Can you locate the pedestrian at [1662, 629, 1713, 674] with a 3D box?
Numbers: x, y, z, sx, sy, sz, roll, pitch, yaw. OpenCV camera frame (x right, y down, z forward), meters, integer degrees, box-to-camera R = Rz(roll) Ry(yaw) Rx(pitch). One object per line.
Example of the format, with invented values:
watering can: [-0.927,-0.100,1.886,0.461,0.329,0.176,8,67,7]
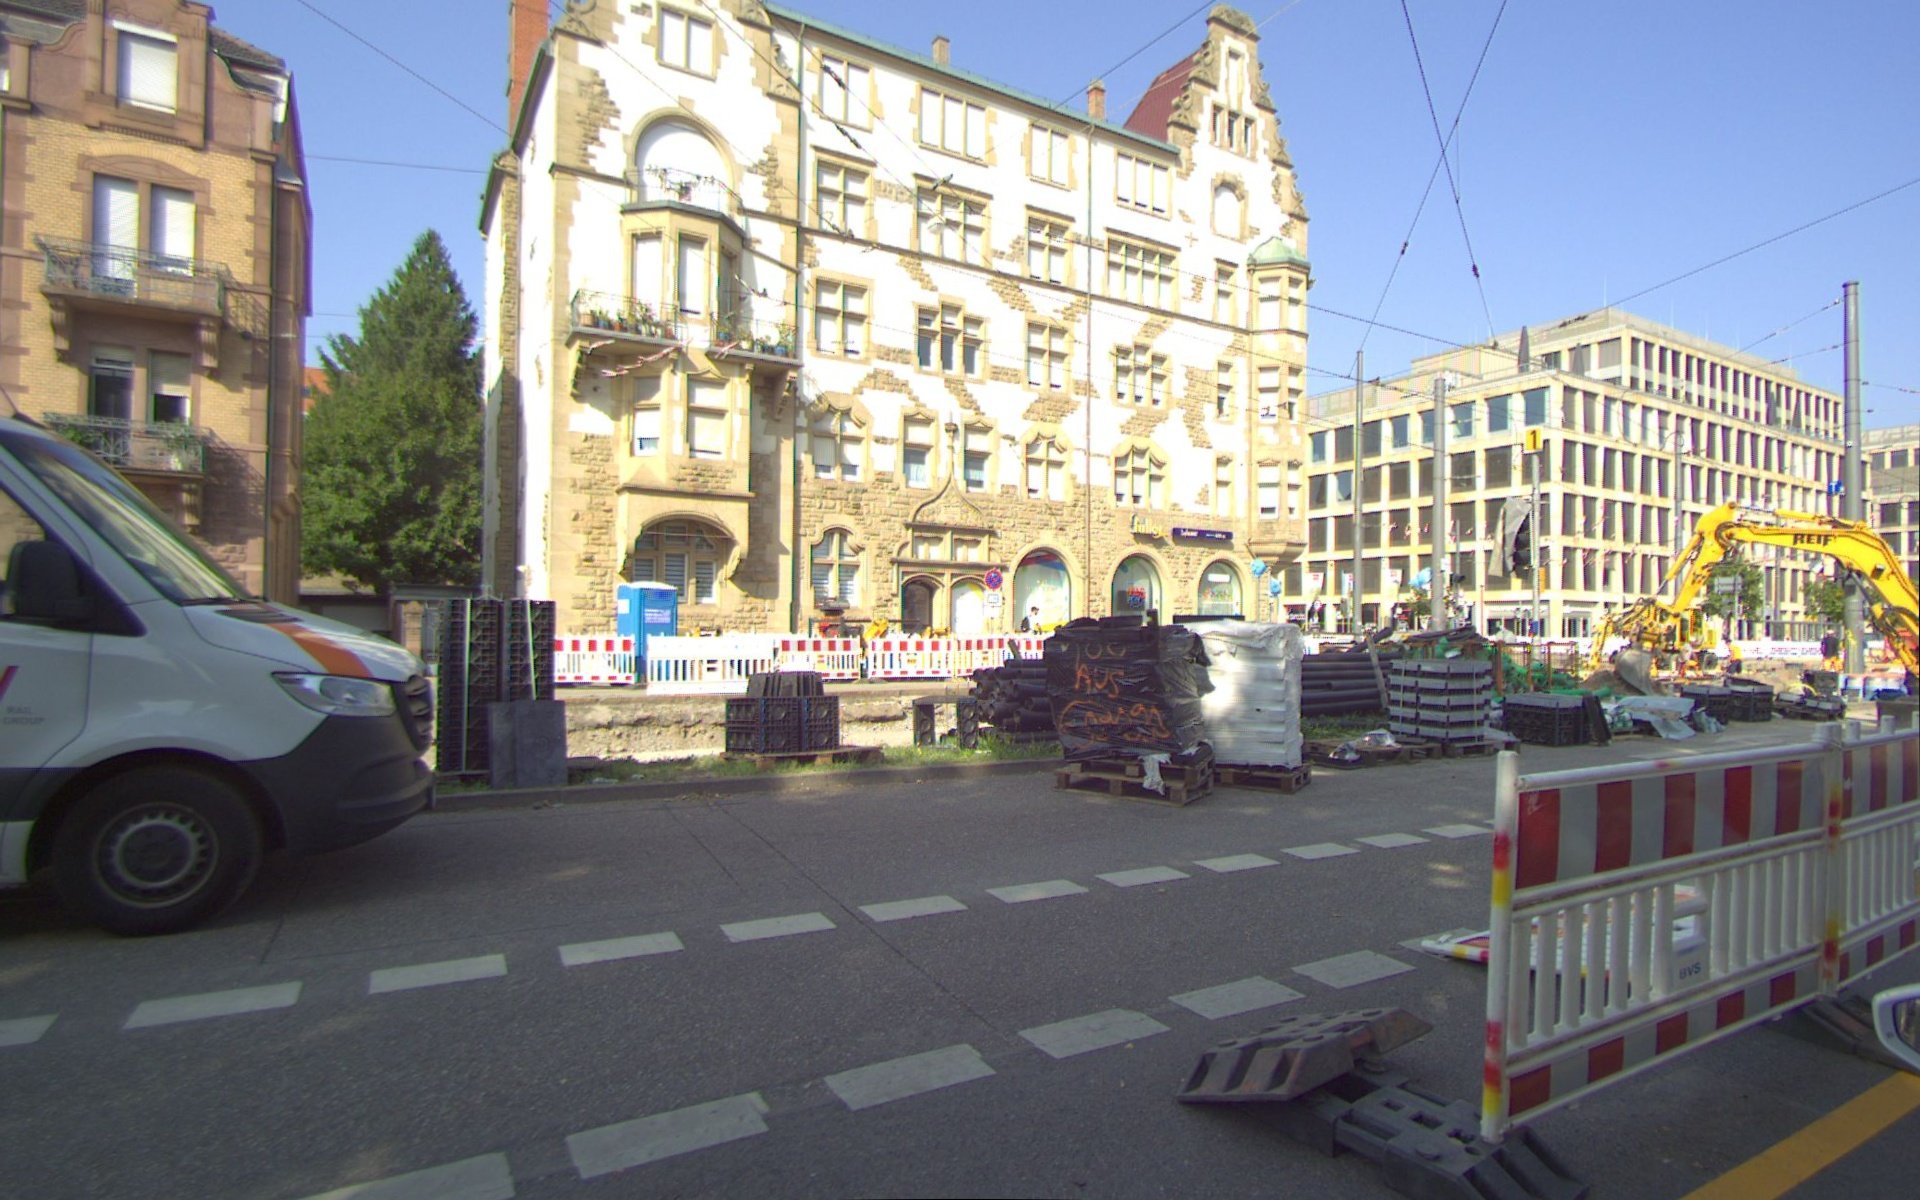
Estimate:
pedestrian: [24.564,1.736,33.928,0.907,1.461,1.137,2,-2,-30]

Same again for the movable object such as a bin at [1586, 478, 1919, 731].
movable object such as a bin: [12.948,0.092,14.817,6.071,3.390,2.107,0,-2,40]

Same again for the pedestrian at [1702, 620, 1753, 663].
pedestrian: [26.829,1.450,35.128,1.008,1.461,1.137,2,-2,-30]

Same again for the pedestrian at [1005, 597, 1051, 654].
pedestrian: [2.142,0.820,31.805,1.133,1.764,0.910,2,-2,-31]

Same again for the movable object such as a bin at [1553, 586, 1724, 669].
movable object such as a bin: [29.707,1.256,43.857,8.246,3.373,2.834,2,-2,-30]

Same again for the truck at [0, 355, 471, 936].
truck: [-5.849,0.159,3.937,6.964,2.251,2.149,2,-2,-29]

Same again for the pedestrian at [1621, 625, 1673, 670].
pedestrian: [22.672,1.555,33.174,0.907,1.461,1.137,2,-2,-30]

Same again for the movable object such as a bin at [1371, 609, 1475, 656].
movable object such as a bin: [28.186,1.981,61.387,2.111,2.775,5.585,2,-2,-31]
